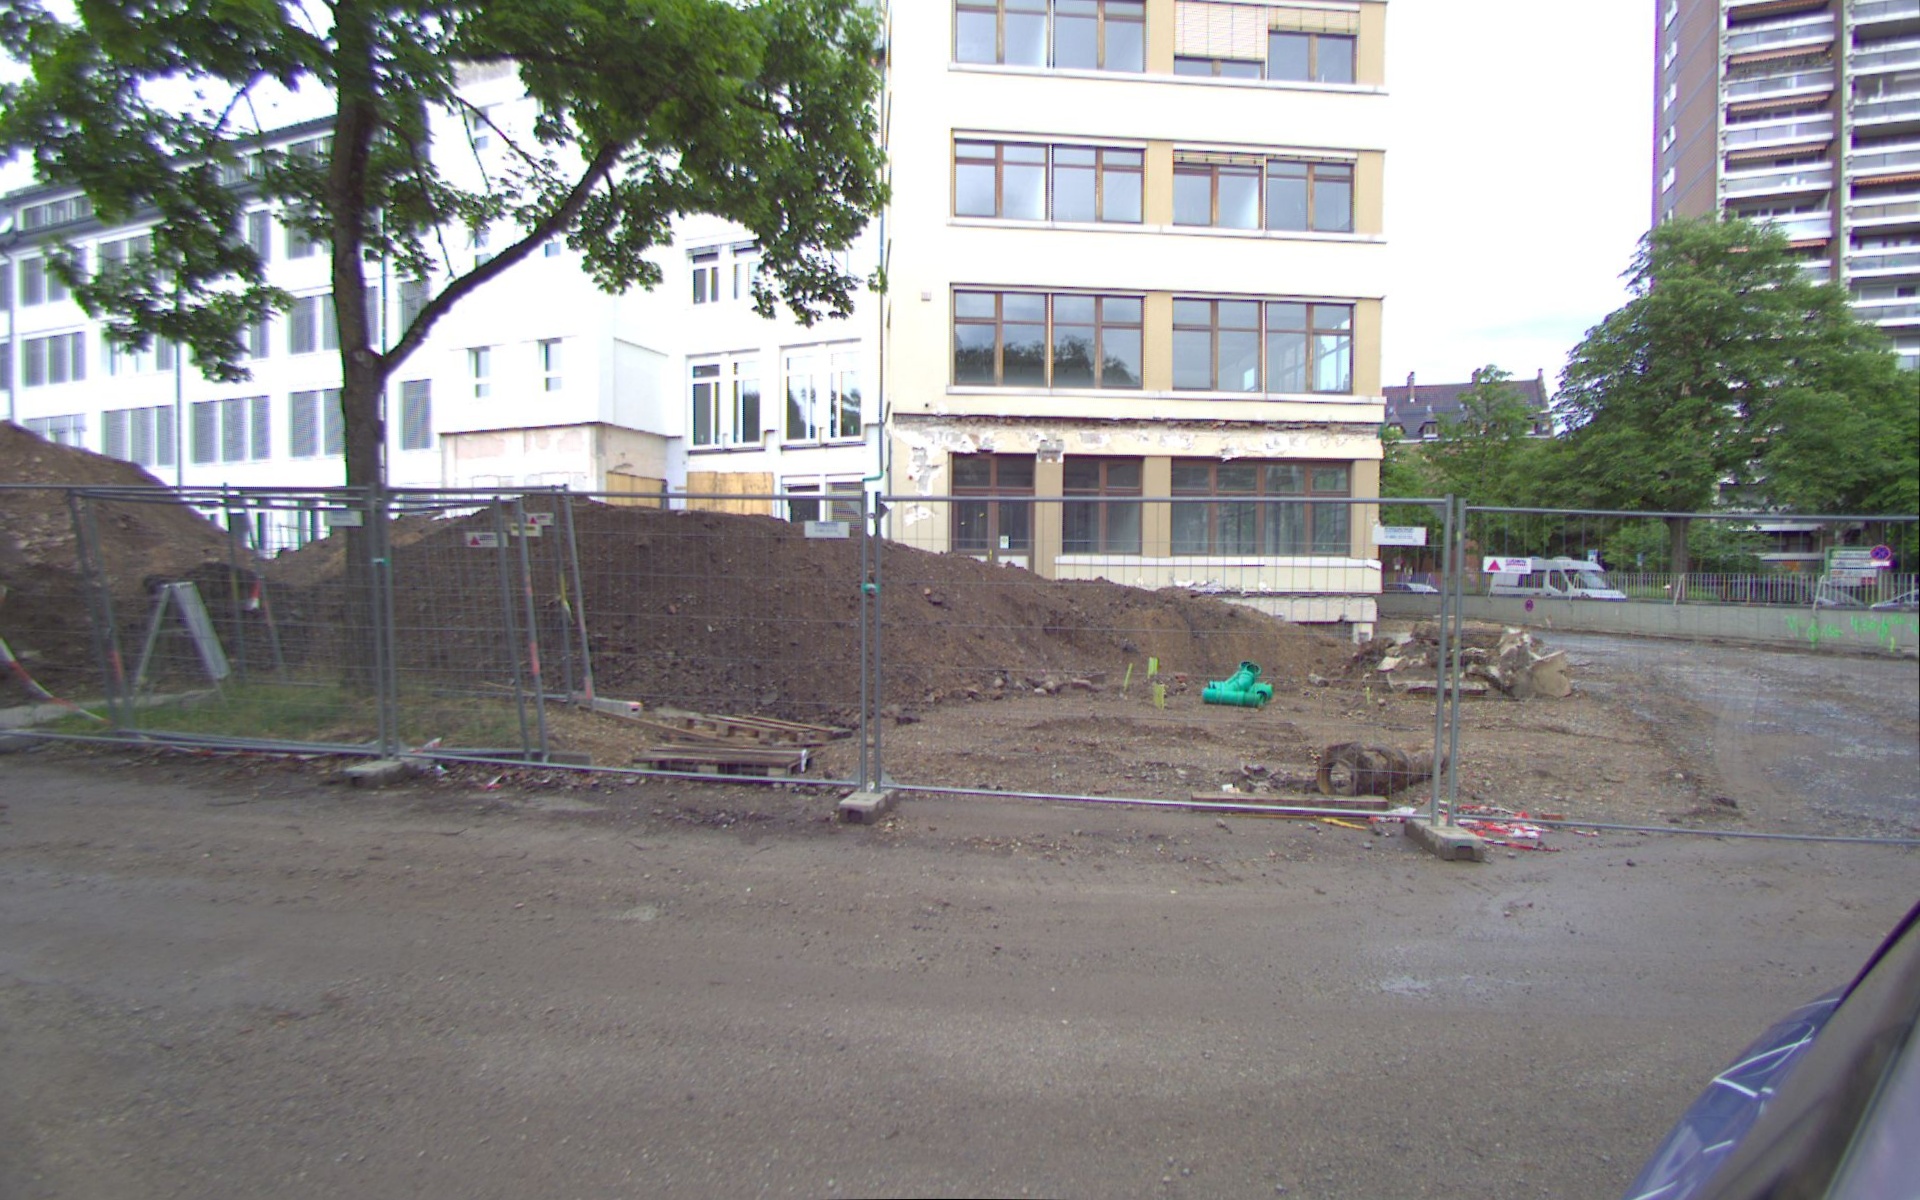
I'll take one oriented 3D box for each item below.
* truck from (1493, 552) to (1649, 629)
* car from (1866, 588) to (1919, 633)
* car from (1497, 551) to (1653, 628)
[{"bbox_3d":[22.681,-0.407,37.916,2.077,2.634,5.499,-1,1,-6],"label":"truck"},{"bbox_3d":[32.780,0.371,33.487,1.711,1.446,4.005,0,1,-6],"label":"car"},{"bbox_3d":[22.799,-0.429,37.844,2.077,2.634,5.499,-1,1,-6],"label":"car"}]
